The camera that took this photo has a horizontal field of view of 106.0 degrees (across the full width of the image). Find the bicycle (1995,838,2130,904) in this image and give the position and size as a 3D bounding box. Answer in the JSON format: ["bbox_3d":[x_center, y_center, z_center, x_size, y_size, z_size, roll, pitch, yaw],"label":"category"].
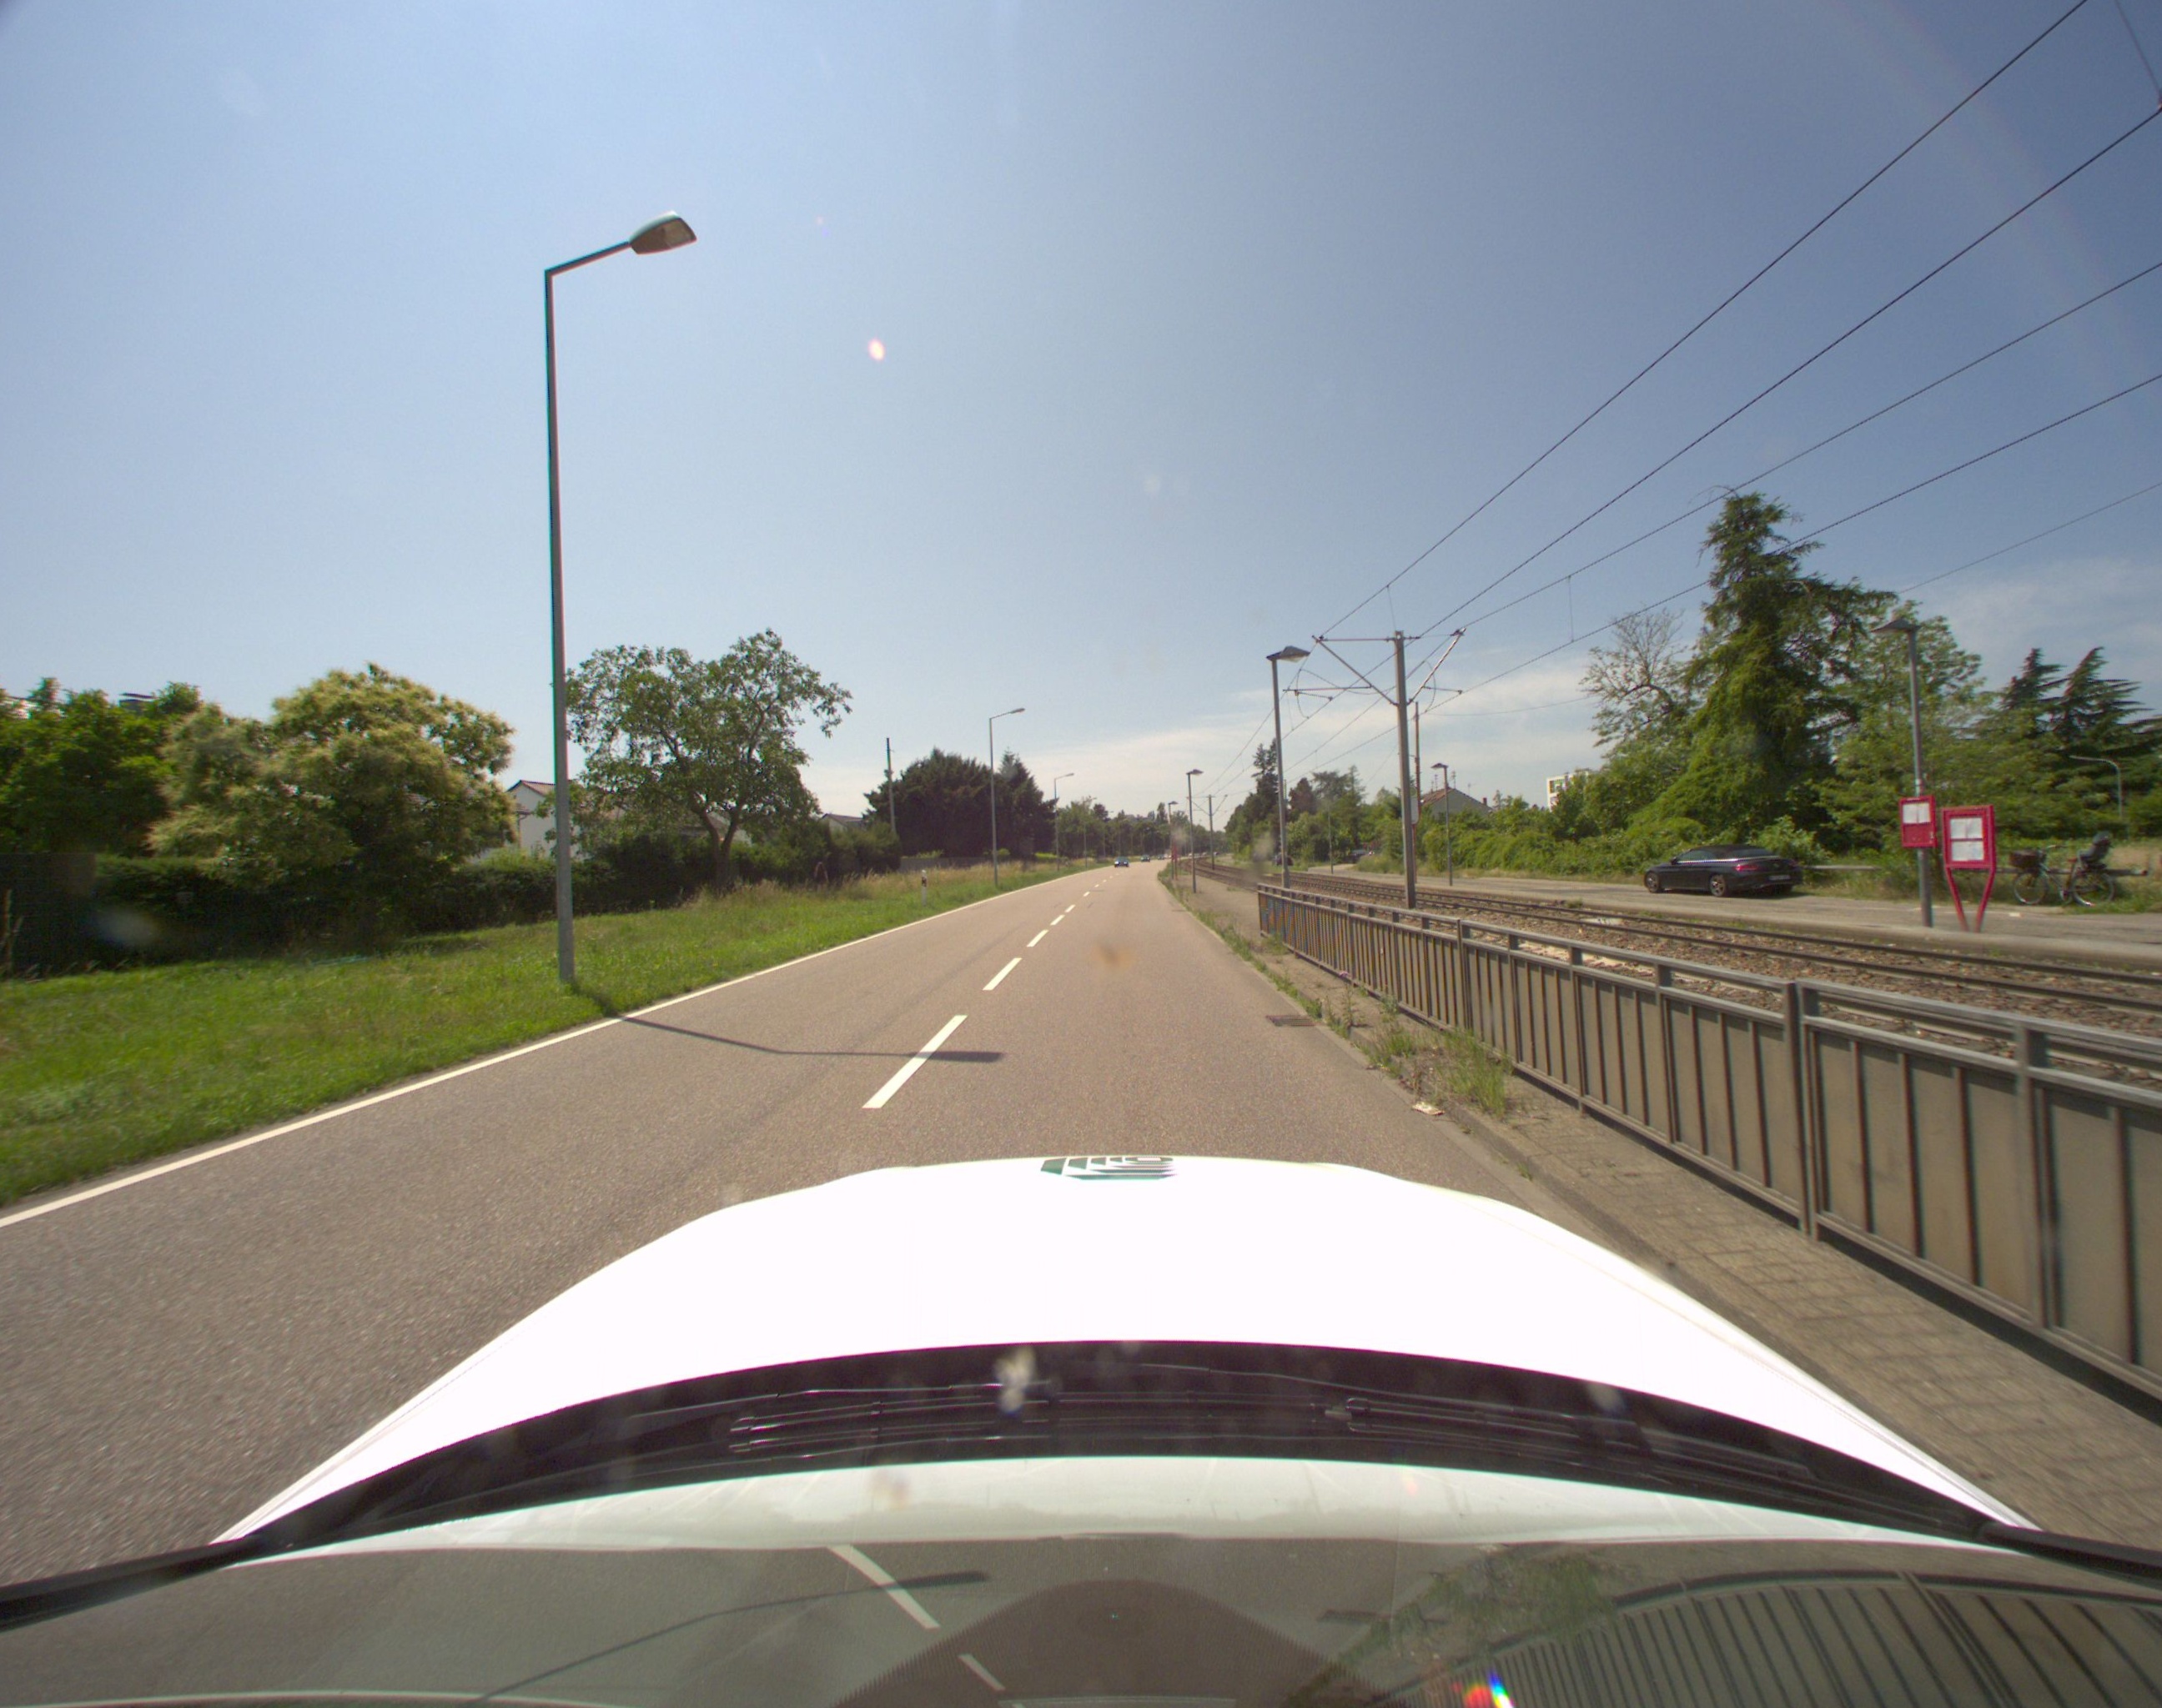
[{"bbox_3d":[20.199,0.355,16.793,0.706,1.269,1.663,-2,-1,-32],"label":"bicycle"}]

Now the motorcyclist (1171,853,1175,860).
[{"bbox_3d":[25.156,0.725,223.049,0.886,1.905,1.018,-1,-1,11],"label":"motorcyclist"}]

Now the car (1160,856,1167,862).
[{"bbox_3d":[23.828,1.429,235.189,1.691,1.491,4.448,-1,-1,7],"label":"car"}]

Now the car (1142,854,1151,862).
[{"bbox_3d":[14.591,0.879,181.297,1.738,1.632,4.036,-1,-1,6],"label":"car"}]

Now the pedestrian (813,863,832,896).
[{"bbox_3d":[-11.585,1.143,36.477,0.606,1.477,0.634,-1,-1,4],"label":"pedestrian"}]

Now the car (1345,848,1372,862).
[{"bbox_3d":[28.483,0.117,83.811,1.712,1.419,3.743,-1,-1,4],"label":"car"}]

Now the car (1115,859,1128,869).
[{"bbox_3d":[5.635,1.361,112.914,1.698,1.404,4.714,-1,-1,5],"label":"car"}]

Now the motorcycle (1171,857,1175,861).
[{"bbox_3d":[25.202,1.412,223.208,0.964,1.117,2.741,-1,-1,11],"label":"motorcycle"}]

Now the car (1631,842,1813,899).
[{"bbox_3d":[18.245,0.452,23.538,1.613,1.422,4.877,-1,-1,3],"label":"car"}]

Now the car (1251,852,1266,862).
[{"bbox_3d":[27.437,0.420,126.115,1.904,1.470,4.007,-1,-1,7],"label":"car"}]

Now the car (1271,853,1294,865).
[{"bbox_3d":[23.003,0.543,93.106,1.852,1.330,4.520,-1,-1,4],"label":"car"}]
